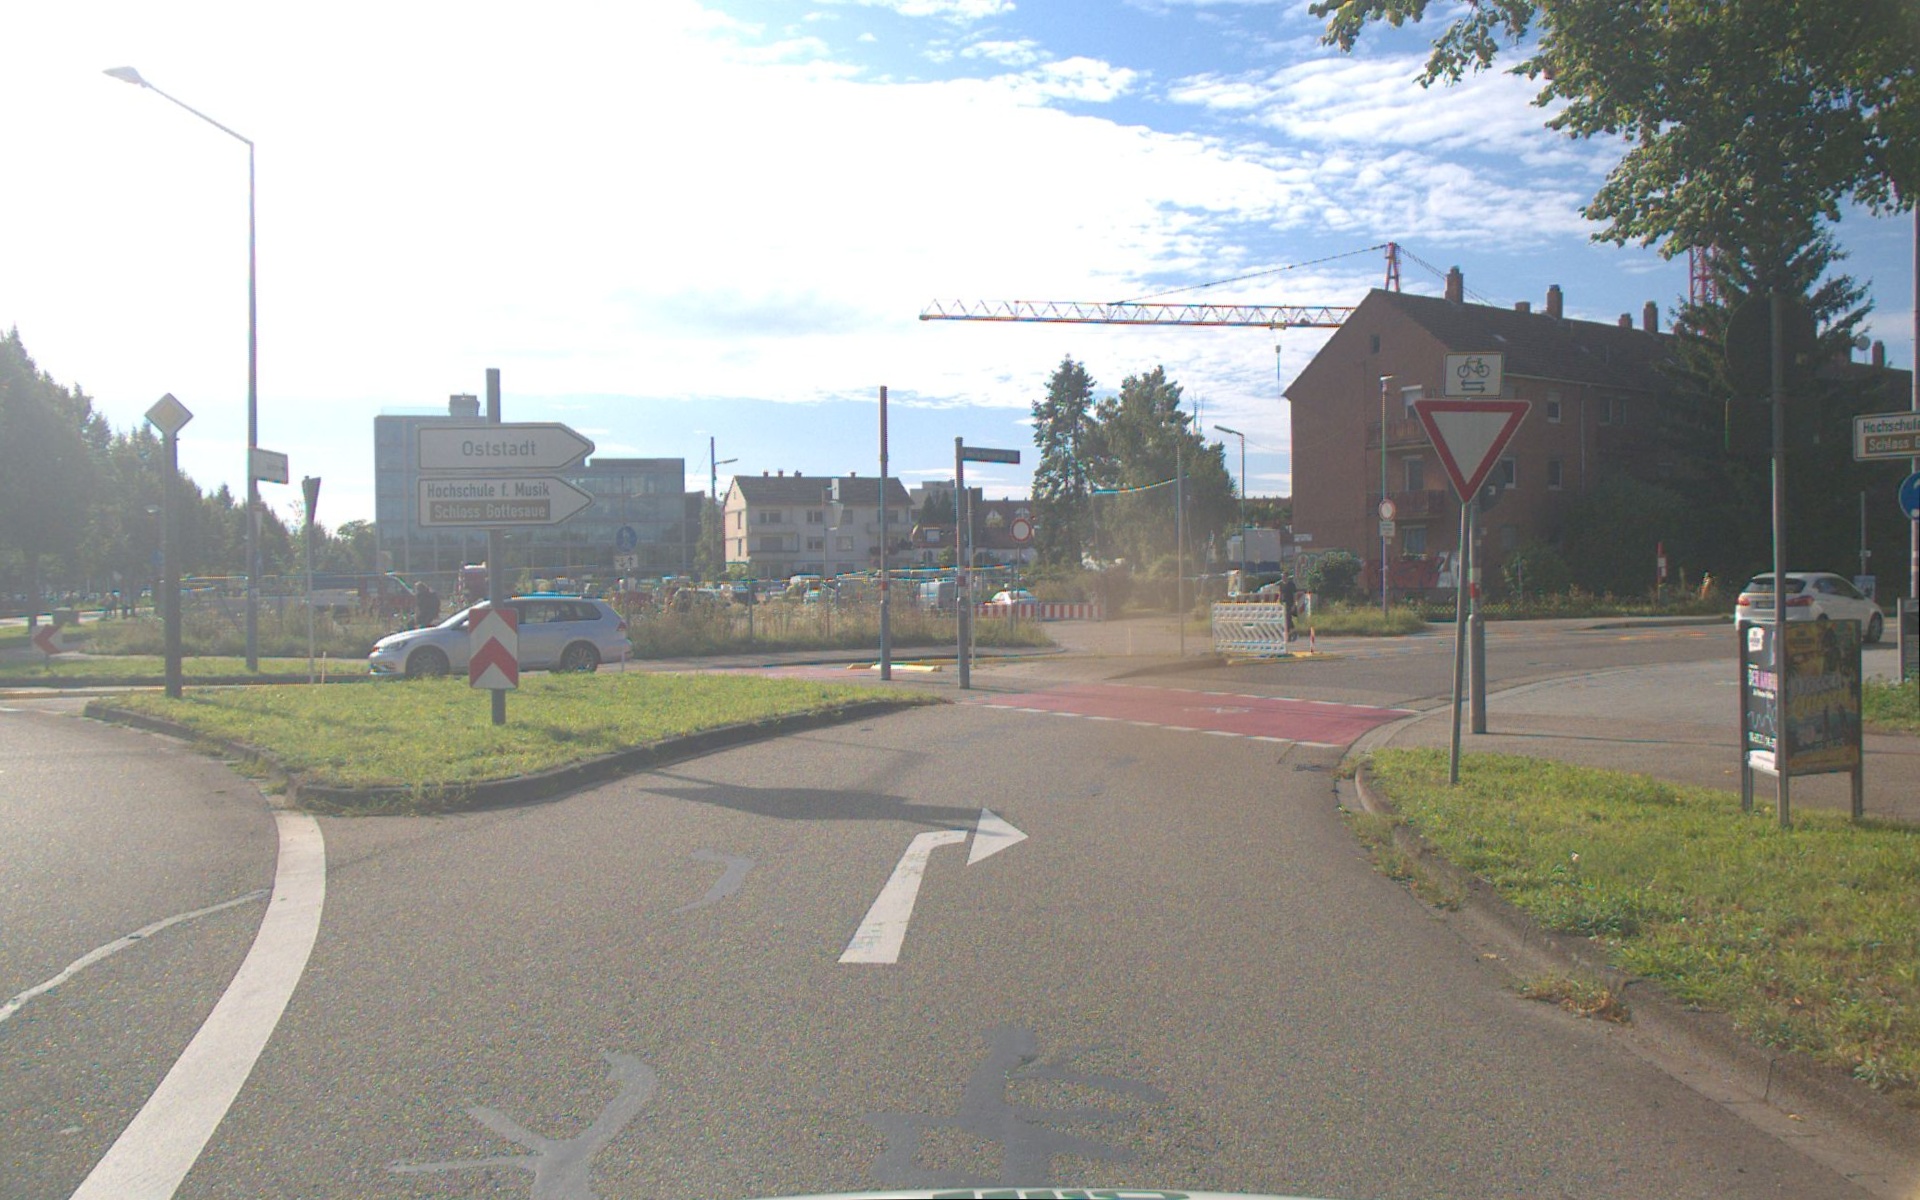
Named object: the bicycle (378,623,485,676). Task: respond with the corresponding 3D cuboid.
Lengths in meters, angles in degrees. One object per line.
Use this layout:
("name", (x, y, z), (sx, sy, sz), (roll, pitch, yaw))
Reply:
("bicycle", (-11.274, 1.055, 35.289), (2.151, 1.081, 0.705), (-1, 1, 19))

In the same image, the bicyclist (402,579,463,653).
("bicyclist", (-11.262, 0.335, 35.305), (0.986, 1.538, 0.705), (-1, 1, 18))

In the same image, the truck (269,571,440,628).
("truck", (-29.650, -0.059, 81.222), (7.718, 2.612, 3.057), (-1, 0, -20))

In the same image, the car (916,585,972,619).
("car", (-0.924, 0.091, 92.787), (1.853, 1.847, 3.974), (-1, 0, -21))

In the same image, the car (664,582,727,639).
("car", (-9.021, 0.339, 56.616), (1.843, 1.847, 3.995), (-1, 0, -6))

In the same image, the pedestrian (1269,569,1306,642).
("pedestrian", (8.620, 0.133, 43.562), (0.656, 1.903, 0.832), (-1, 0, 36))

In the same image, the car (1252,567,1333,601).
("car", (17.256, -0.827, 85.734), (3.903, 1.646, 1.774), (-1, 0, 19))

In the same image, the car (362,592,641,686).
("car", (-8.103, 0.637, 29.315), (4.478, 1.477, 1.806), (-1, 1, -29))

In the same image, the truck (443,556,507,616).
("truck", (-27.933, -0.793, 95.043), (2.769, 3.263, 7.265), (-1, 0, -23))

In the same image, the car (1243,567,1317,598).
("car", (17.675, -0.972, 91.501), (3.902, 1.646, 1.775), (-1, 0, 8))

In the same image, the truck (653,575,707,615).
("truck", (-16.993, -0.315, 100.106), (2.029, 2.368, 5.599), (-1, 1, -23))

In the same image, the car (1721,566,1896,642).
("car", (19.234, 0.046, 37.430), (4.408, 1.600, 1.832), (-1, 1, -38))

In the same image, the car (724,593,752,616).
("car", (-18.754, 0.365, 139.864), (1.959, 1.892, 3.987), (-1, 0, -13))

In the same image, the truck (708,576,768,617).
("truck", (-13.605, -0.225, 100.960), (2.255, 2.368, 5.599), (-1, 1, -23))

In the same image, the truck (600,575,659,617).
("truck", (-19.829, -0.247, 99.022), (2.296, 2.368, 6.408), (-1, 1, -23))
